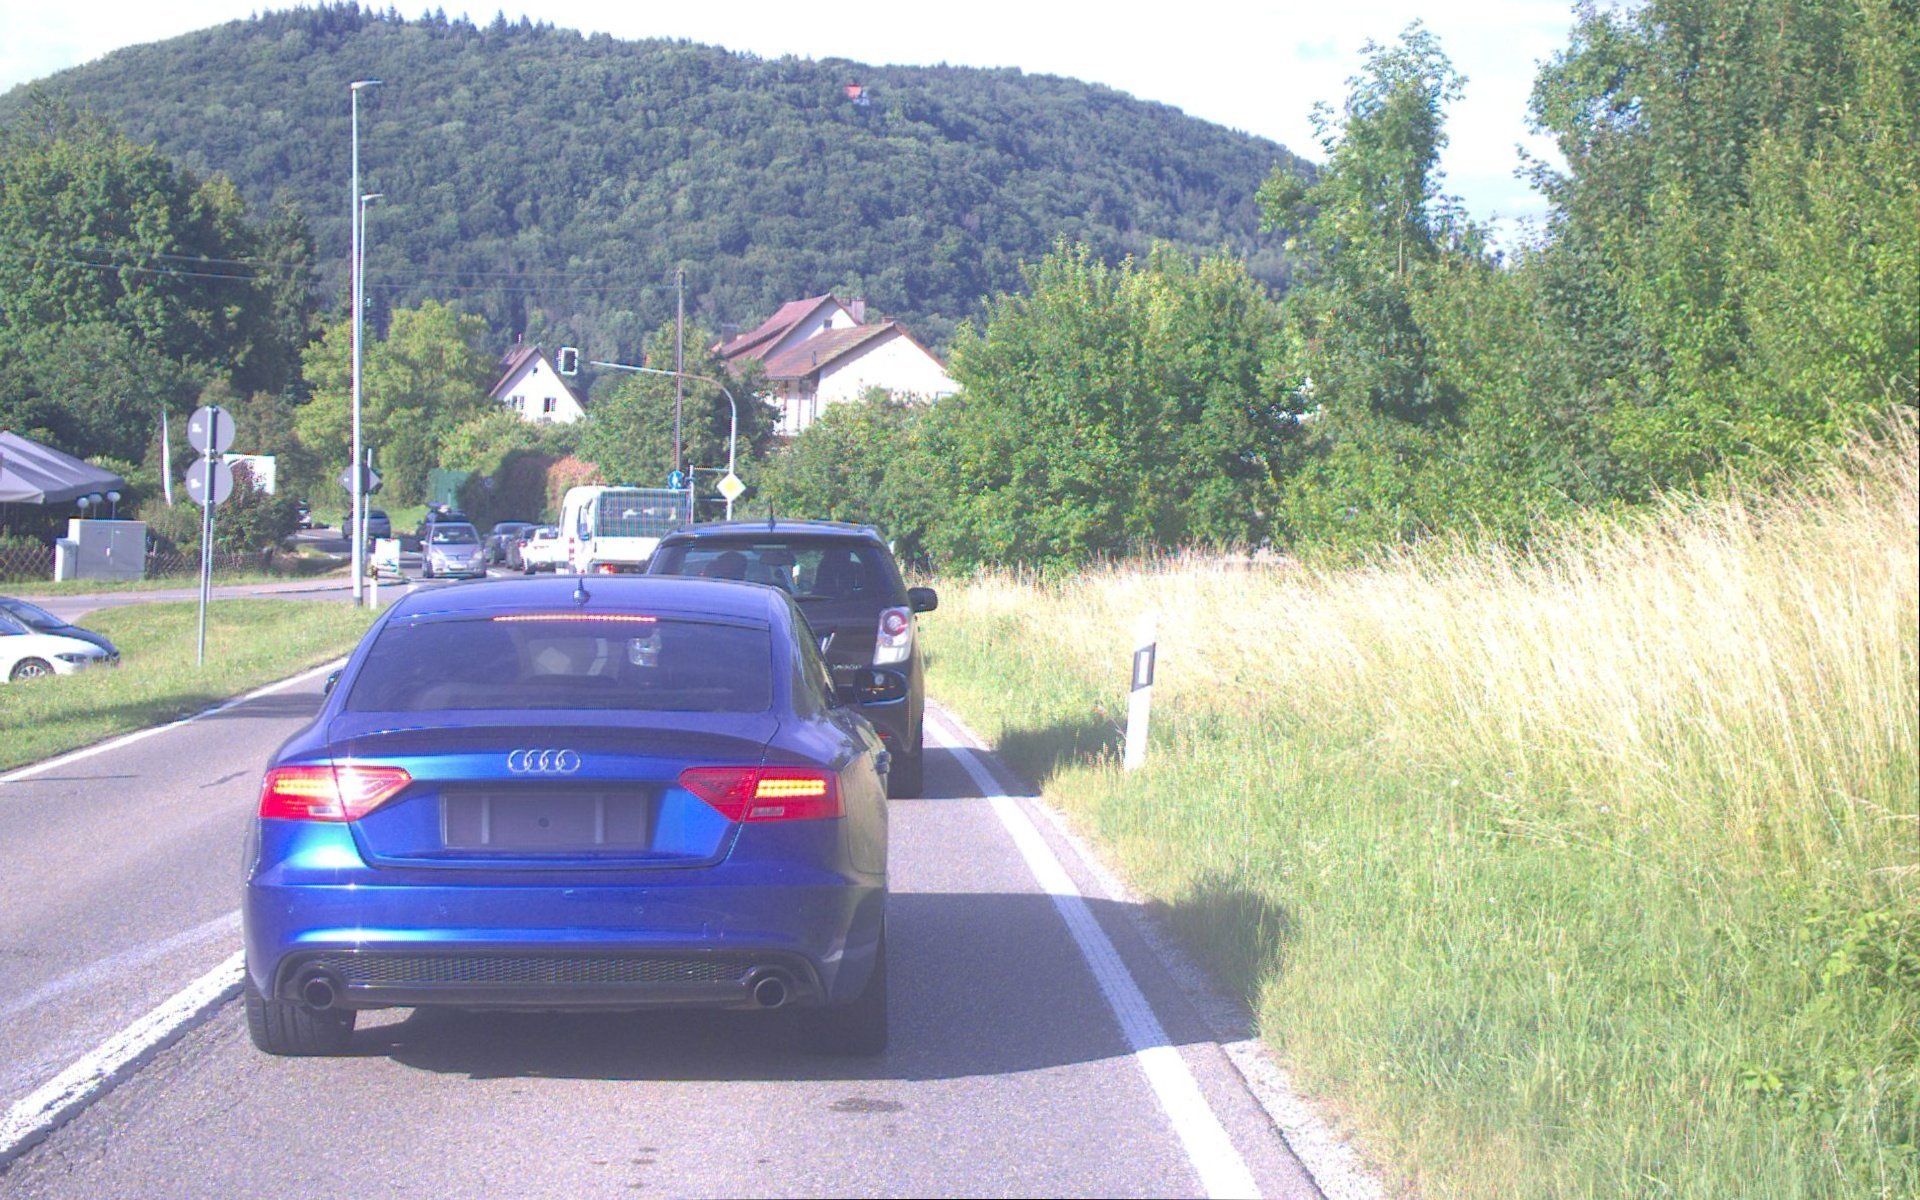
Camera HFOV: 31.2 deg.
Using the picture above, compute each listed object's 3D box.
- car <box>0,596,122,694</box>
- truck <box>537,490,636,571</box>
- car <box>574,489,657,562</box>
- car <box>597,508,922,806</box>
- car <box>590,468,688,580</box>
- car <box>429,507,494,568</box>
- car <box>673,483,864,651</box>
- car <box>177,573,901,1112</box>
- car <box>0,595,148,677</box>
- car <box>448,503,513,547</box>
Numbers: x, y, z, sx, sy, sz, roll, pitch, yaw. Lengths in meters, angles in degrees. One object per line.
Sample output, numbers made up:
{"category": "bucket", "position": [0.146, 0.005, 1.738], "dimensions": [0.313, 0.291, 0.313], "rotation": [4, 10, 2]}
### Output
{"category": "car", "position": [-16.113, 0.685, 55.127], "dimensions": [4.815, 1.488, 1.880], "rotation": [1, 0, 8]}
{"category": "truck", "position": [-9.386, -1.711, 85.978], "dimensions": [1.697, 1.947, 5.924], "rotation": [1, 0, -13]}
{"category": "car", "position": [-8.145, -1.737, 80.982], "dimensions": [1.745, 1.634, 4.001], "rotation": [1, 0, -8]}
{"category": "car", "position": [-1.139, 0.298, 21.150], "dimensions": [1.746, 1.634, 4.000], "rotation": [1, 0, 0]}
{"category": "car", "position": [-6.521, -1.513, 69.571], "dimensions": [1.745, 2.188, 4.001], "rotation": [1, 0, -8]}
{"category": "car", "position": [-14.079, -1.744, 97.051], "dimensions": [1.734, 1.656, 3.472], "rotation": [1, 0, -9]}
{"category": "car", "position": [-1.956, -0.349, 36.215], "dimensions": [1.804, 1.634, 4.463], "rotation": [1, 0, -1]}
{"category": "car", "position": [-1.121, 0.611, 10.864], "dimensions": [1.795, 1.383, 4.000], "rotation": [0, 0, 0]}
{"category": "car", "position": [-15.884, 0.586, 57.775], "dimensions": [3.987, 1.306, 1.760], "rotation": [1, 0, 4]}
{"category": "car", "position": [-16.798, -2.616, 120.227], "dimensions": [1.697, 1.485, 3.528], "rotation": [1, 0, -17]}
